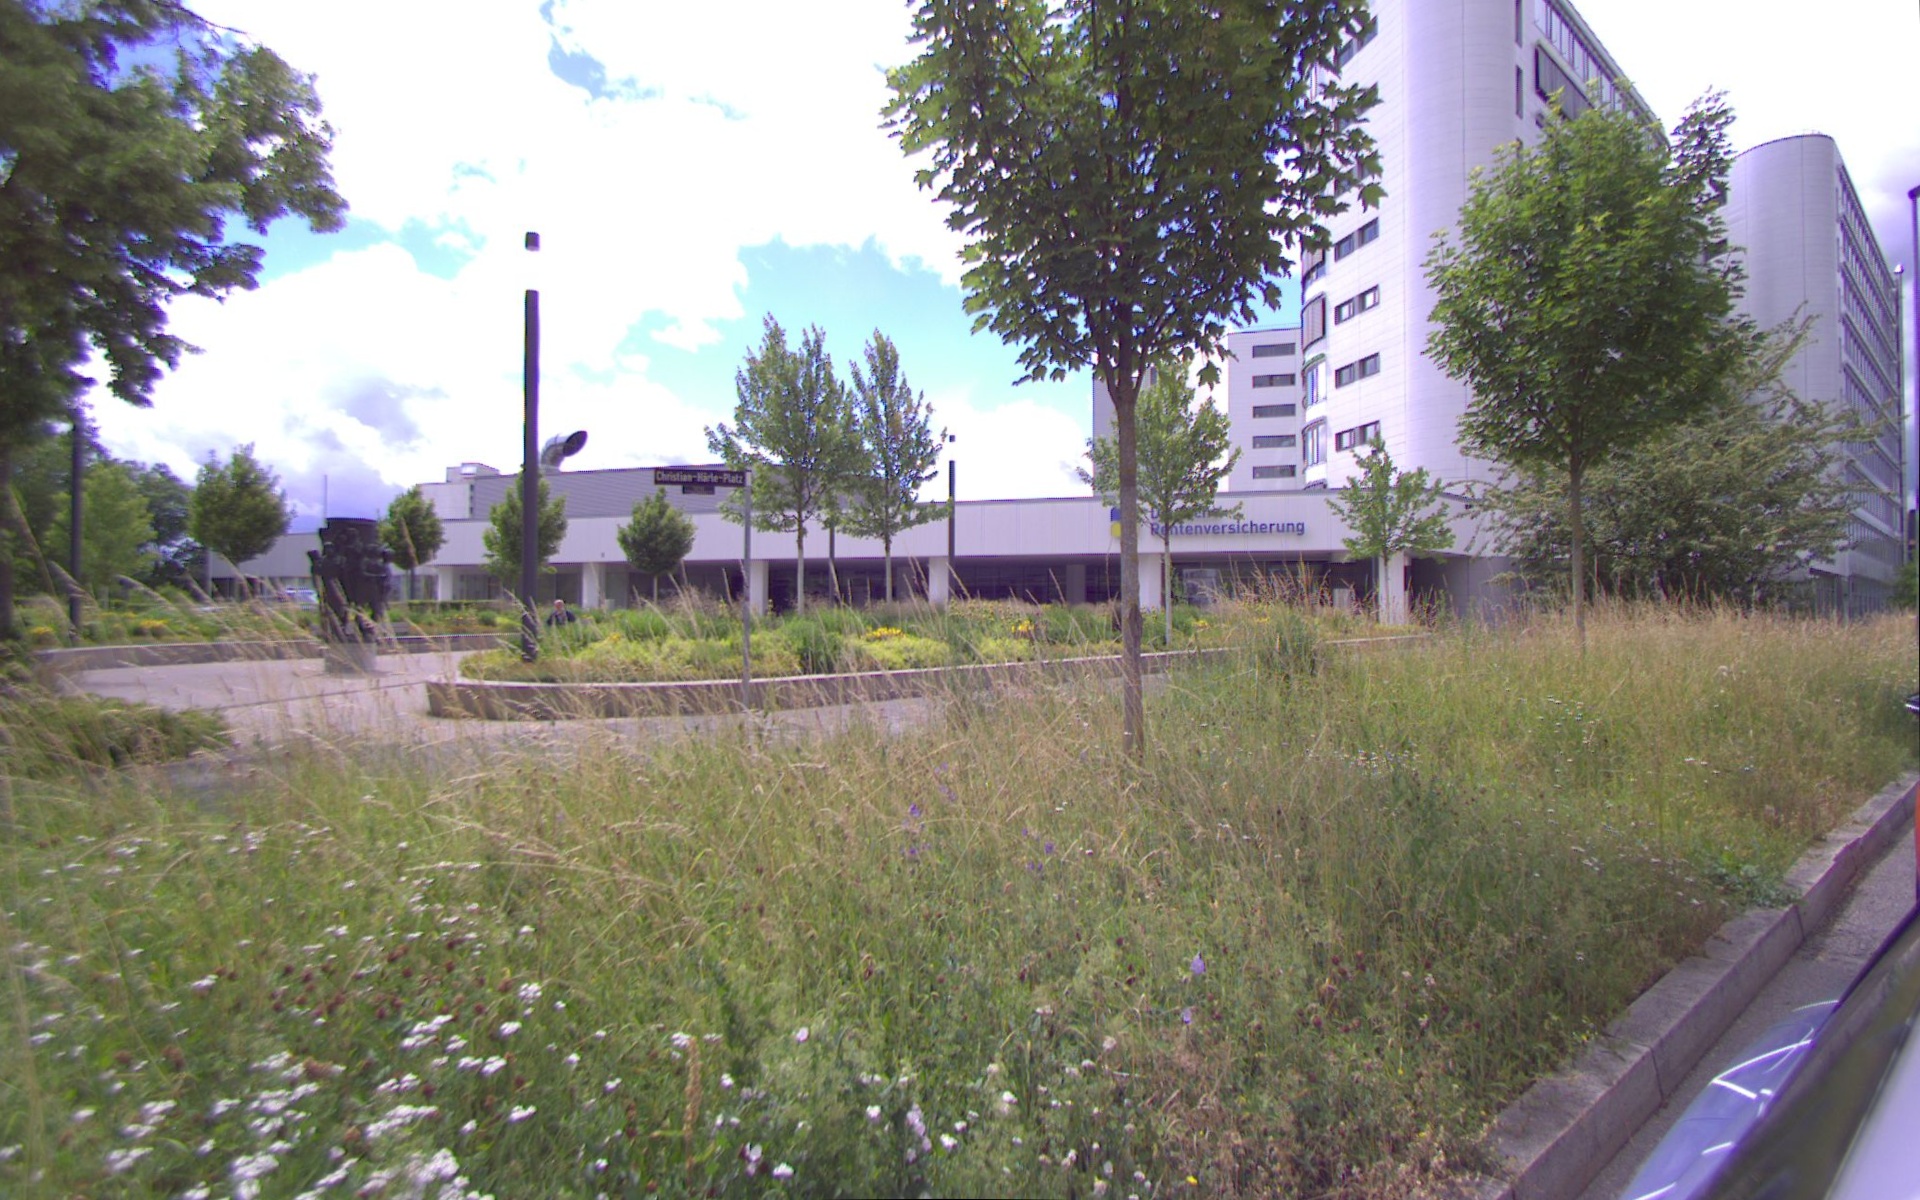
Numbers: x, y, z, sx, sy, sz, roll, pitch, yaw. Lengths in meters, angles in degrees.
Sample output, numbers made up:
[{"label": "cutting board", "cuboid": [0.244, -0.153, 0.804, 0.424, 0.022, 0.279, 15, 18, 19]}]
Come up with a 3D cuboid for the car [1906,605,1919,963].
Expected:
[{"label": "car", "cuboid": [5.762, 0.770, 4.592, 3.611, 1.434, 1.748, 0, 1, -41]}]

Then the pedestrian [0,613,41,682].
[{"label": "pedestrian", "cuboid": [-17.433, 0.859, 18.666, 0.621, 1.238, 0.620, 1, 0, -36]}]

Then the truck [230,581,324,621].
[{"label": "truck", "cuboid": [-36.140, 0.060, 53.573, 3.941, 2.039, 1.991, 1, 0, 14]}]

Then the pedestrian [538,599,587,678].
[{"label": "pedestrian", "cuboid": [-8.462, 0.805, 21.544, 0.758, 1.646, 0.764, 1, -1, -39]}]
